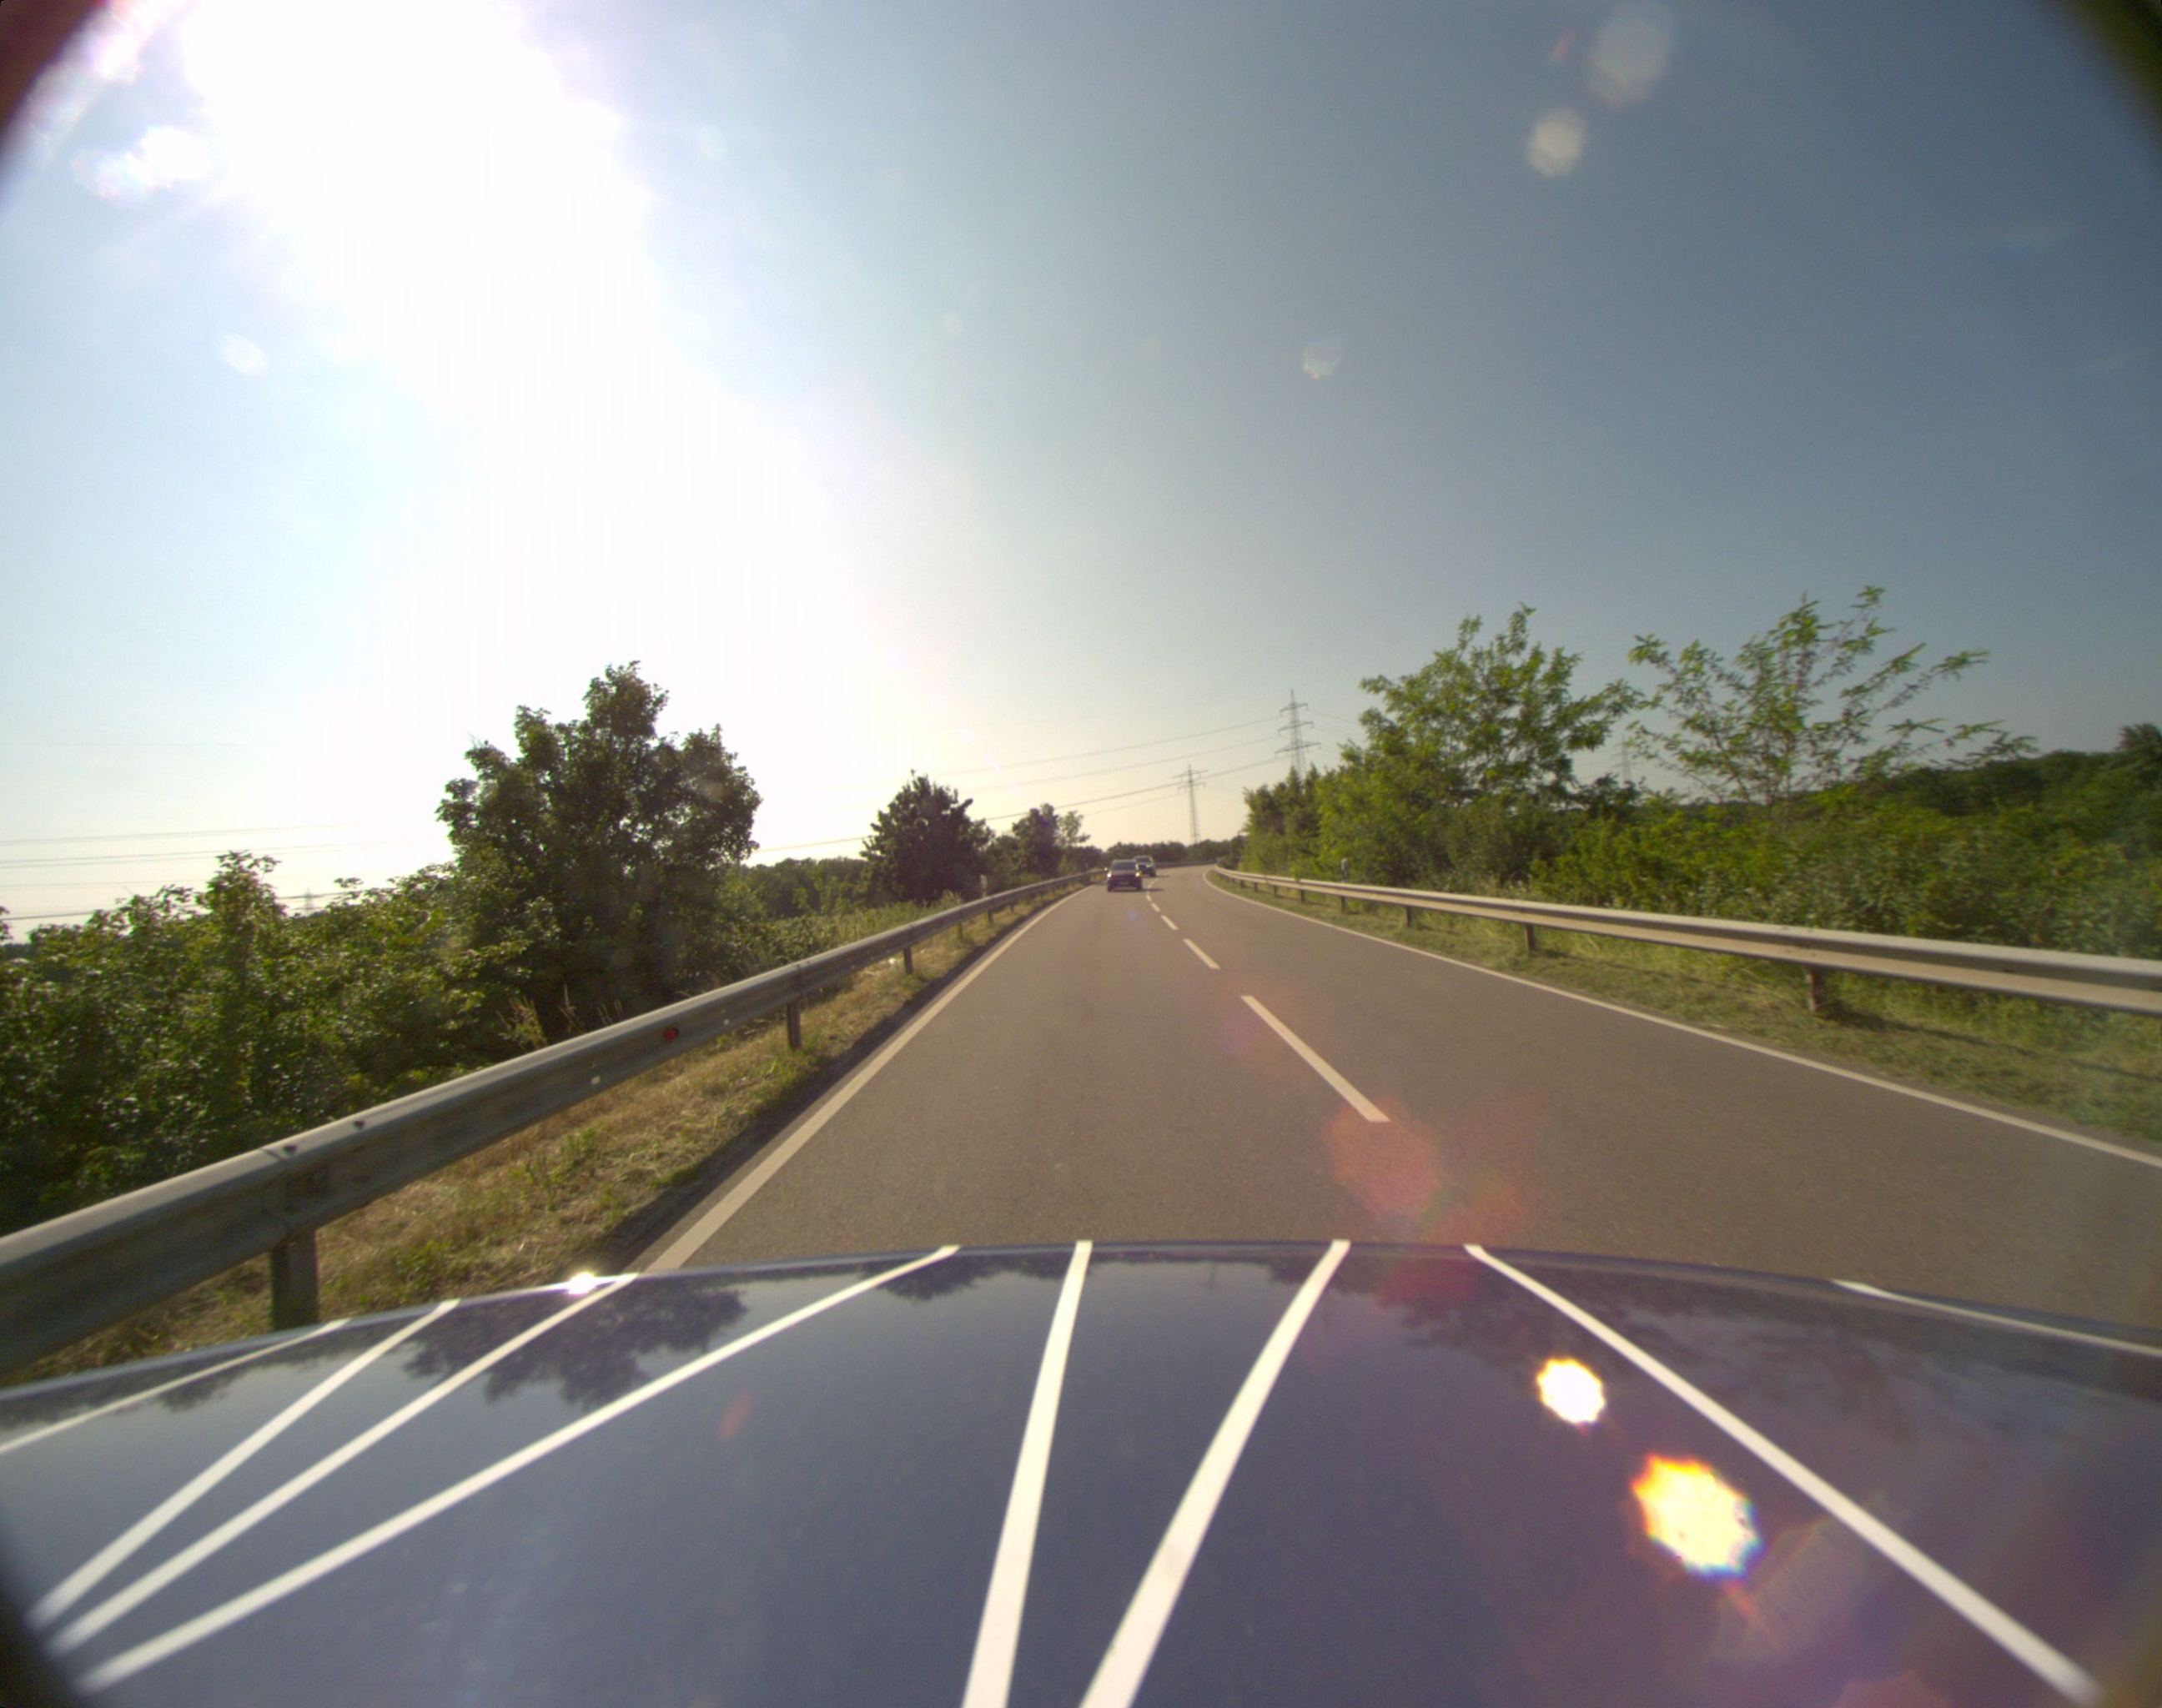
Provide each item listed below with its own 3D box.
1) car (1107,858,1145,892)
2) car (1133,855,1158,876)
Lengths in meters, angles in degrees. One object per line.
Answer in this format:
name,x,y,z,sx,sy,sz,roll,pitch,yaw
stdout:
car,2.286,0.993,37.643,1.606,1.486,4.001,-3,0,6
car,5.203,0.875,60.922,1.606,1.486,4.002,-3,0,9
